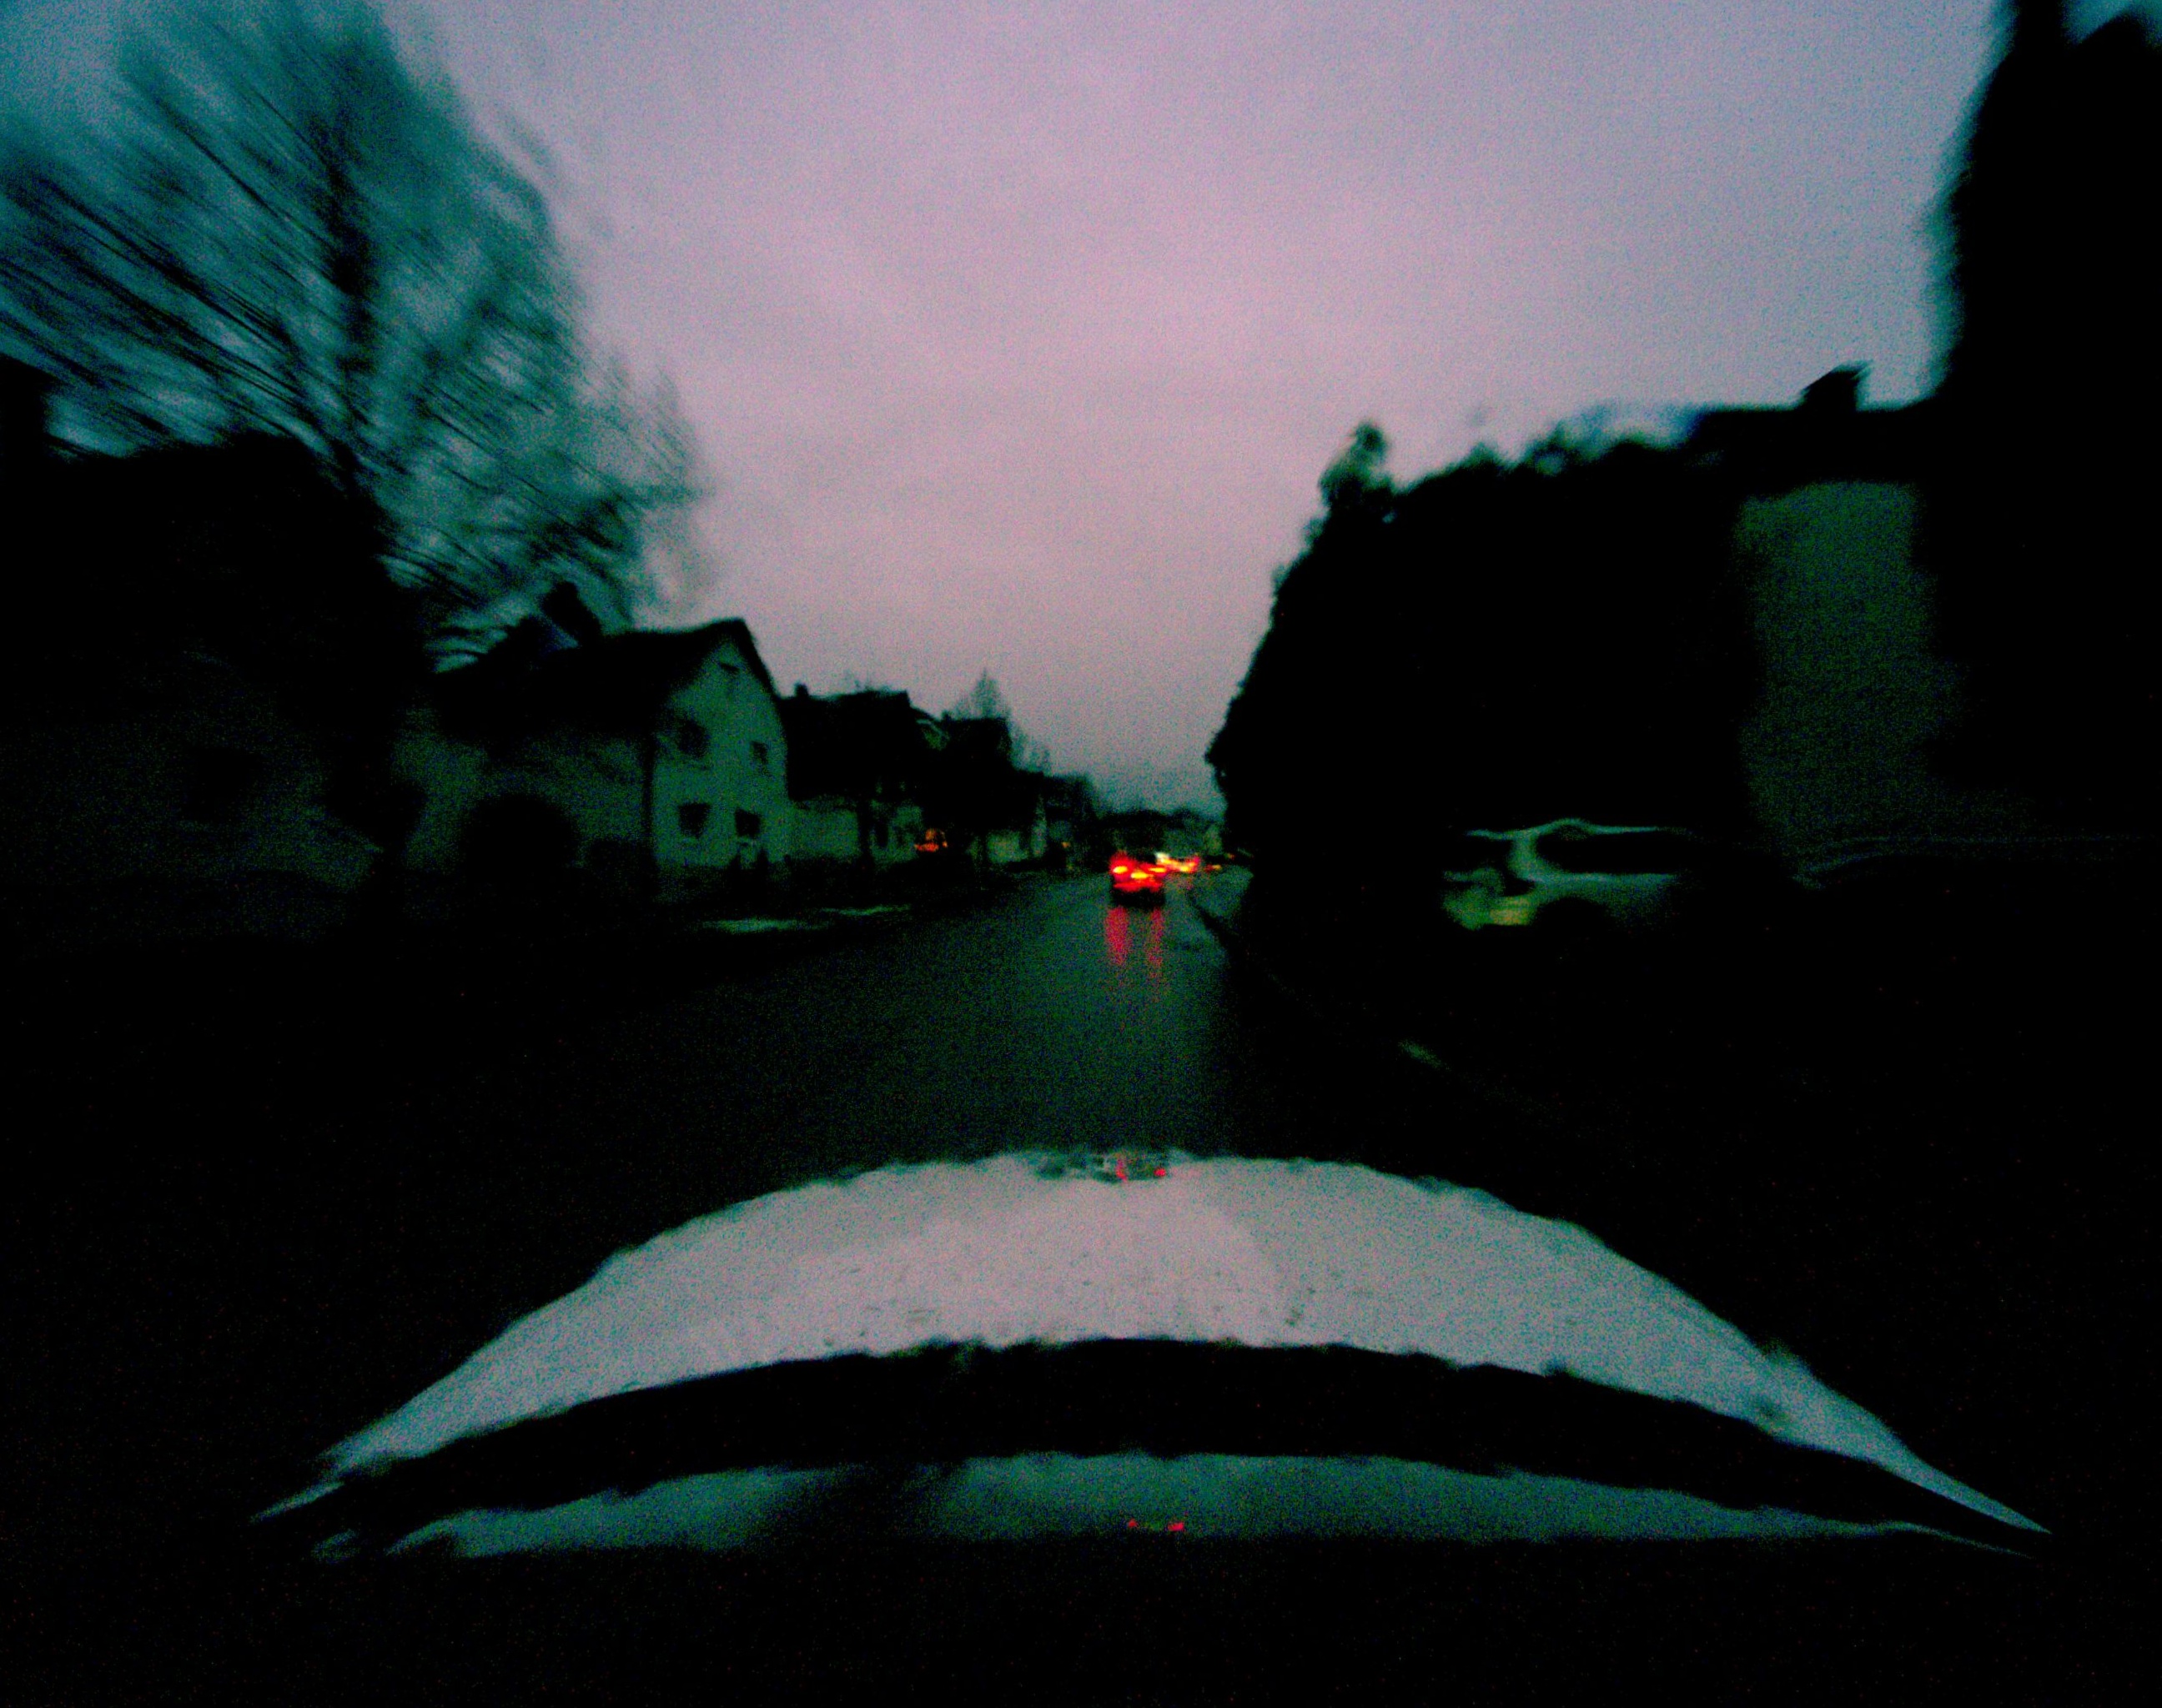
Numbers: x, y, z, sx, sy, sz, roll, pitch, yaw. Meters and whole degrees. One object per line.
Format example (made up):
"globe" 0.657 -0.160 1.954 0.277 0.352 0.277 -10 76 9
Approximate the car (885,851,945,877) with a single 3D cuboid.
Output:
"car" -9.087 0.563 44.941 1.770 1.366 4.012 1 -1 12

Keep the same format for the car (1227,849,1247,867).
"car" 18.893 0.440 98.499 1.963 2.014 5.767 -2 -1 14

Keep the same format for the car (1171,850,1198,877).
"car" 8.258 0.783 64.632 1.982 2.014 4.010 1 -1 9

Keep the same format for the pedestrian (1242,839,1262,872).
"pedestrian" 9.167 0.096 43.698 0.981 1.742 1.059 -2 -1 10

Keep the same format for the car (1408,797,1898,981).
"car" 6.401 0.361 9.525 4.310 1.732 1.999 -2 0 -1

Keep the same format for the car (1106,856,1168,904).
"car" 1.960 0.857 28.224 1.984 1.525 4.005 1 -1 5

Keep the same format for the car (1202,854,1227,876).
"car" 9.751 0.812 59.252 1.638 1.540 3.401 0 -1 11
